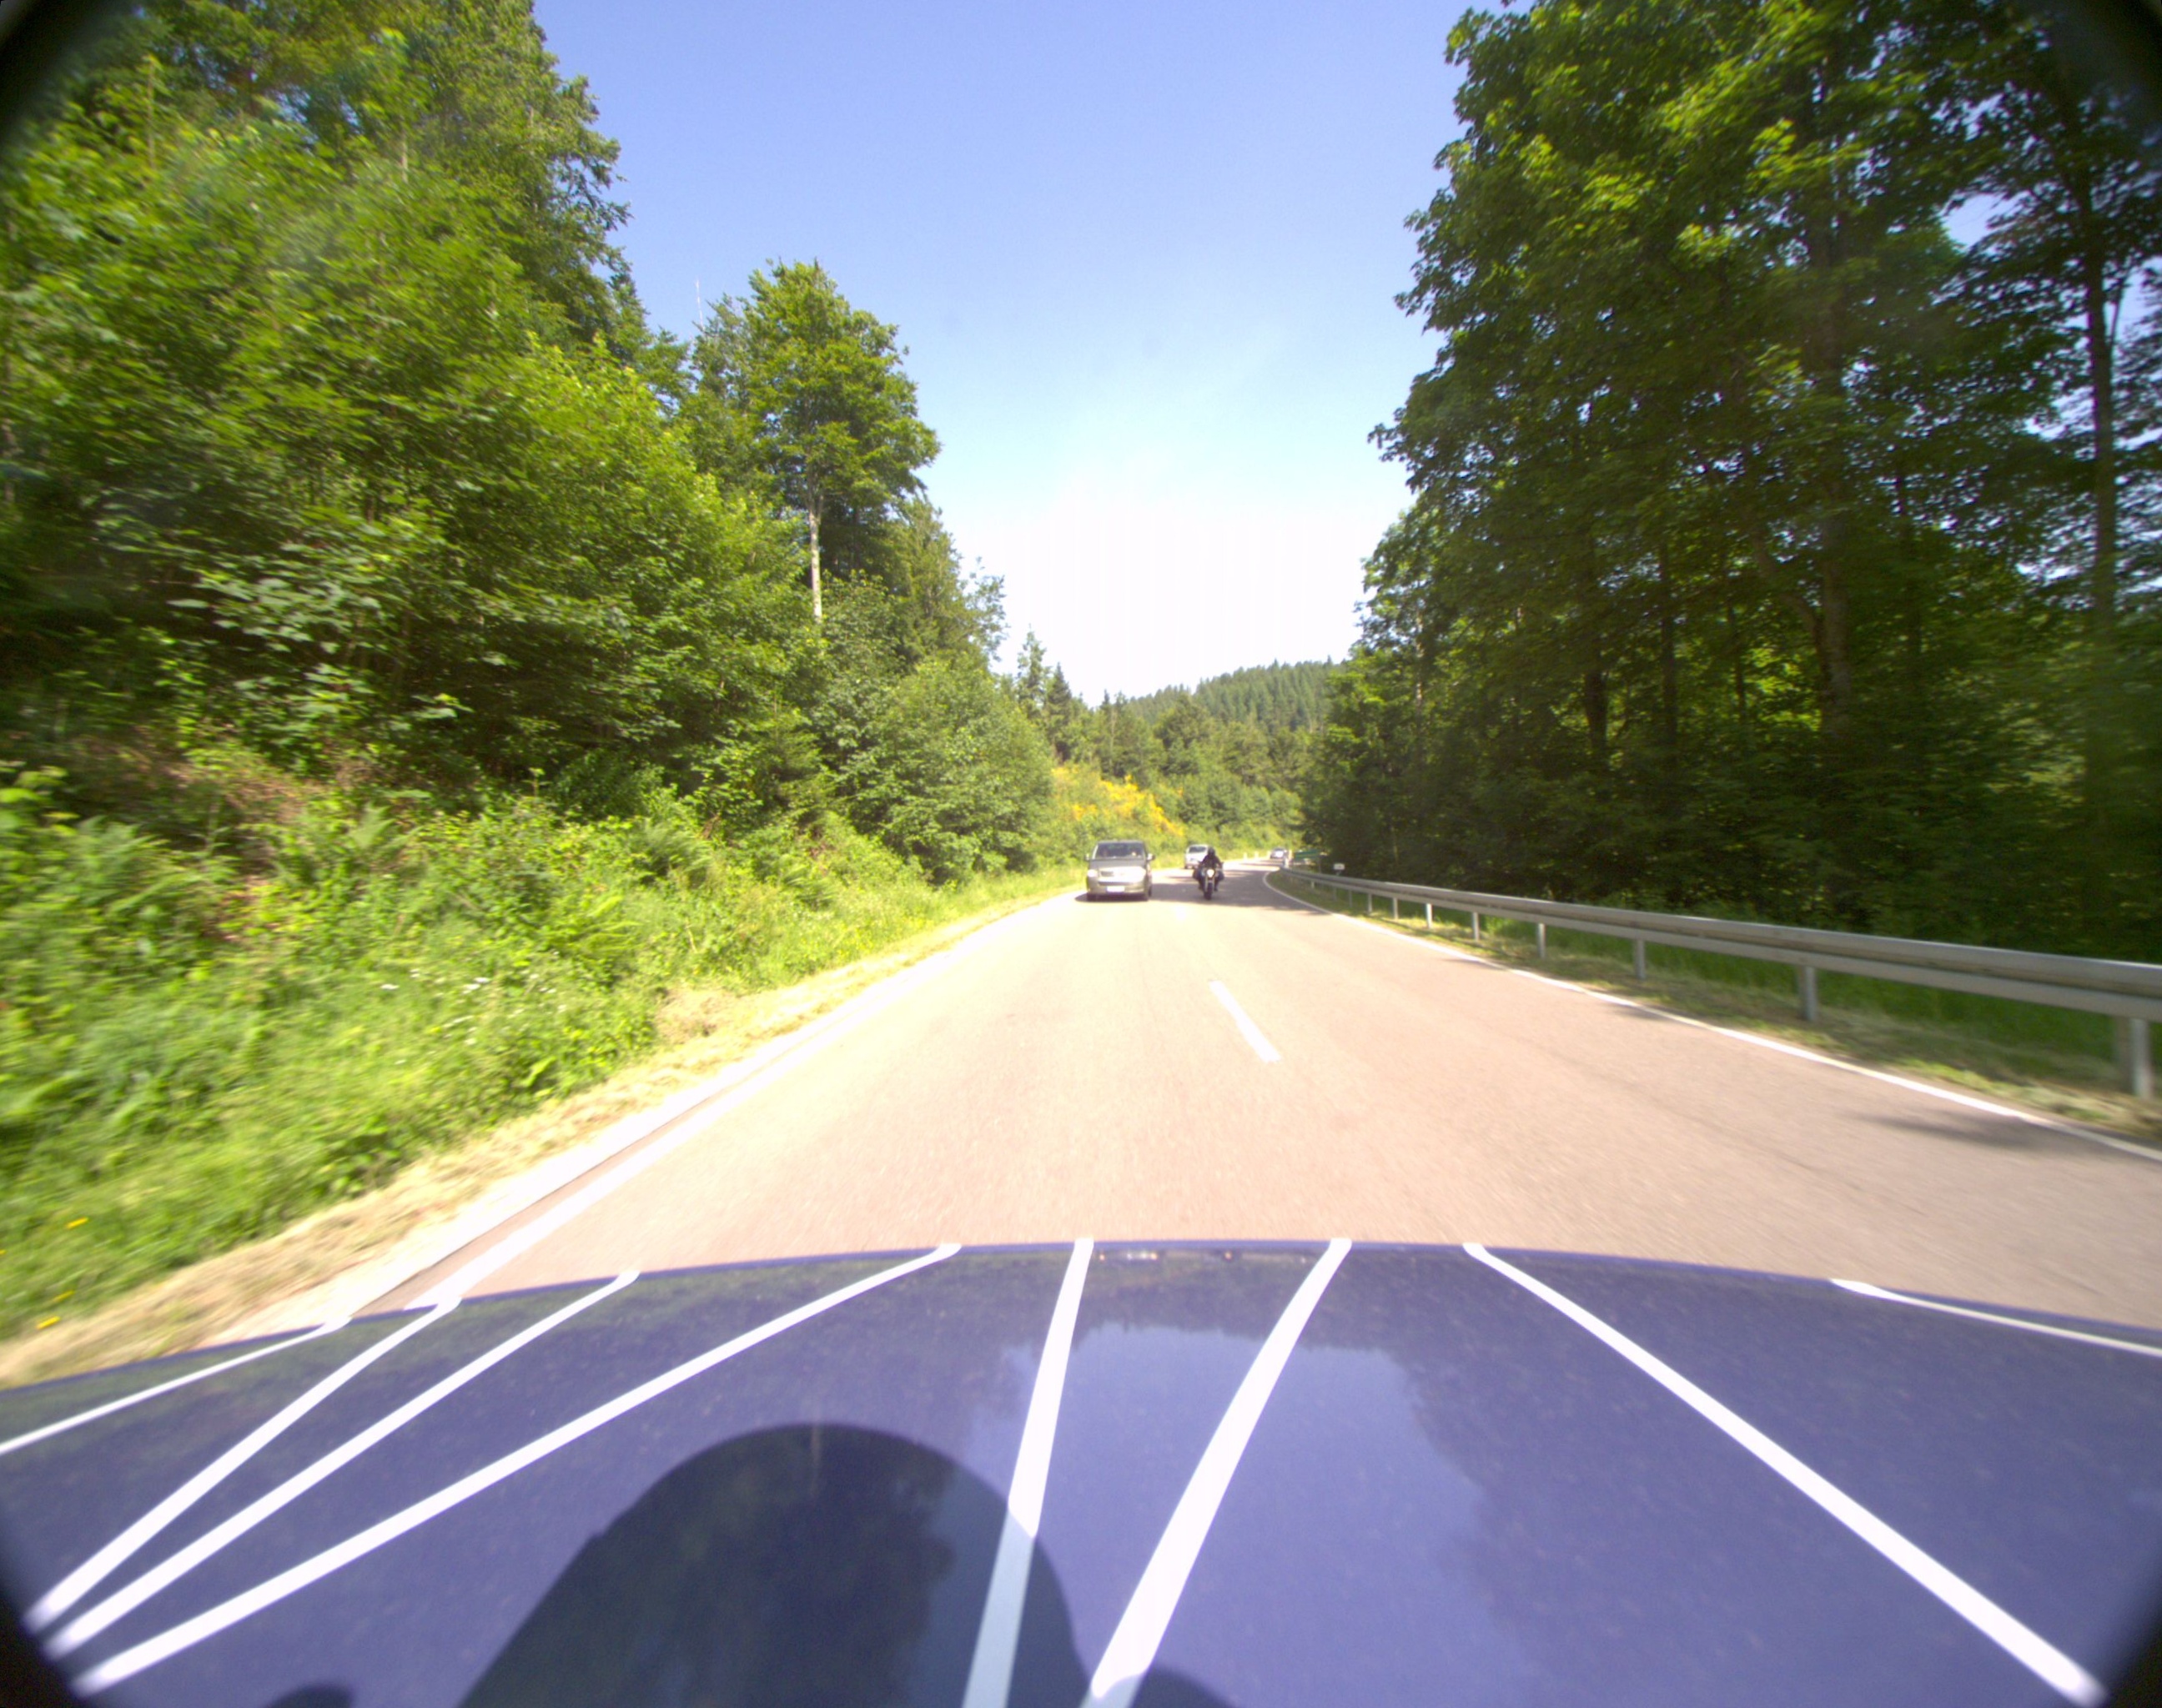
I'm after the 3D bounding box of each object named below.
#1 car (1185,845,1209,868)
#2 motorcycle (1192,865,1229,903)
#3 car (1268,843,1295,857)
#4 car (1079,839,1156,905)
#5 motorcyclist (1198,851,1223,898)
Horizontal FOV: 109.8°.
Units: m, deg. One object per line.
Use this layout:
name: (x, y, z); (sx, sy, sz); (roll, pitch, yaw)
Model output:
car: (9.117, 0.150, 59.631); (1.651, 1.749, 3.797); (0, 1, 11)
motorcycle: (4.105, 0.932, 24.242); (1.109, 1.117, 1.962); (0, 1, 8)
car: (24.533, -0.475, 93.071); (1.994, 1.634, 4.007); (0, 2, 33)
car: (1.317, 0.515, 24.851); (2.028, 1.940, 4.902); (-1, 1, 9)
motorcyclist: (4.078, 0.633, 24.026); (0.716, 1.422, 0.999); (-1, 1, 8)
